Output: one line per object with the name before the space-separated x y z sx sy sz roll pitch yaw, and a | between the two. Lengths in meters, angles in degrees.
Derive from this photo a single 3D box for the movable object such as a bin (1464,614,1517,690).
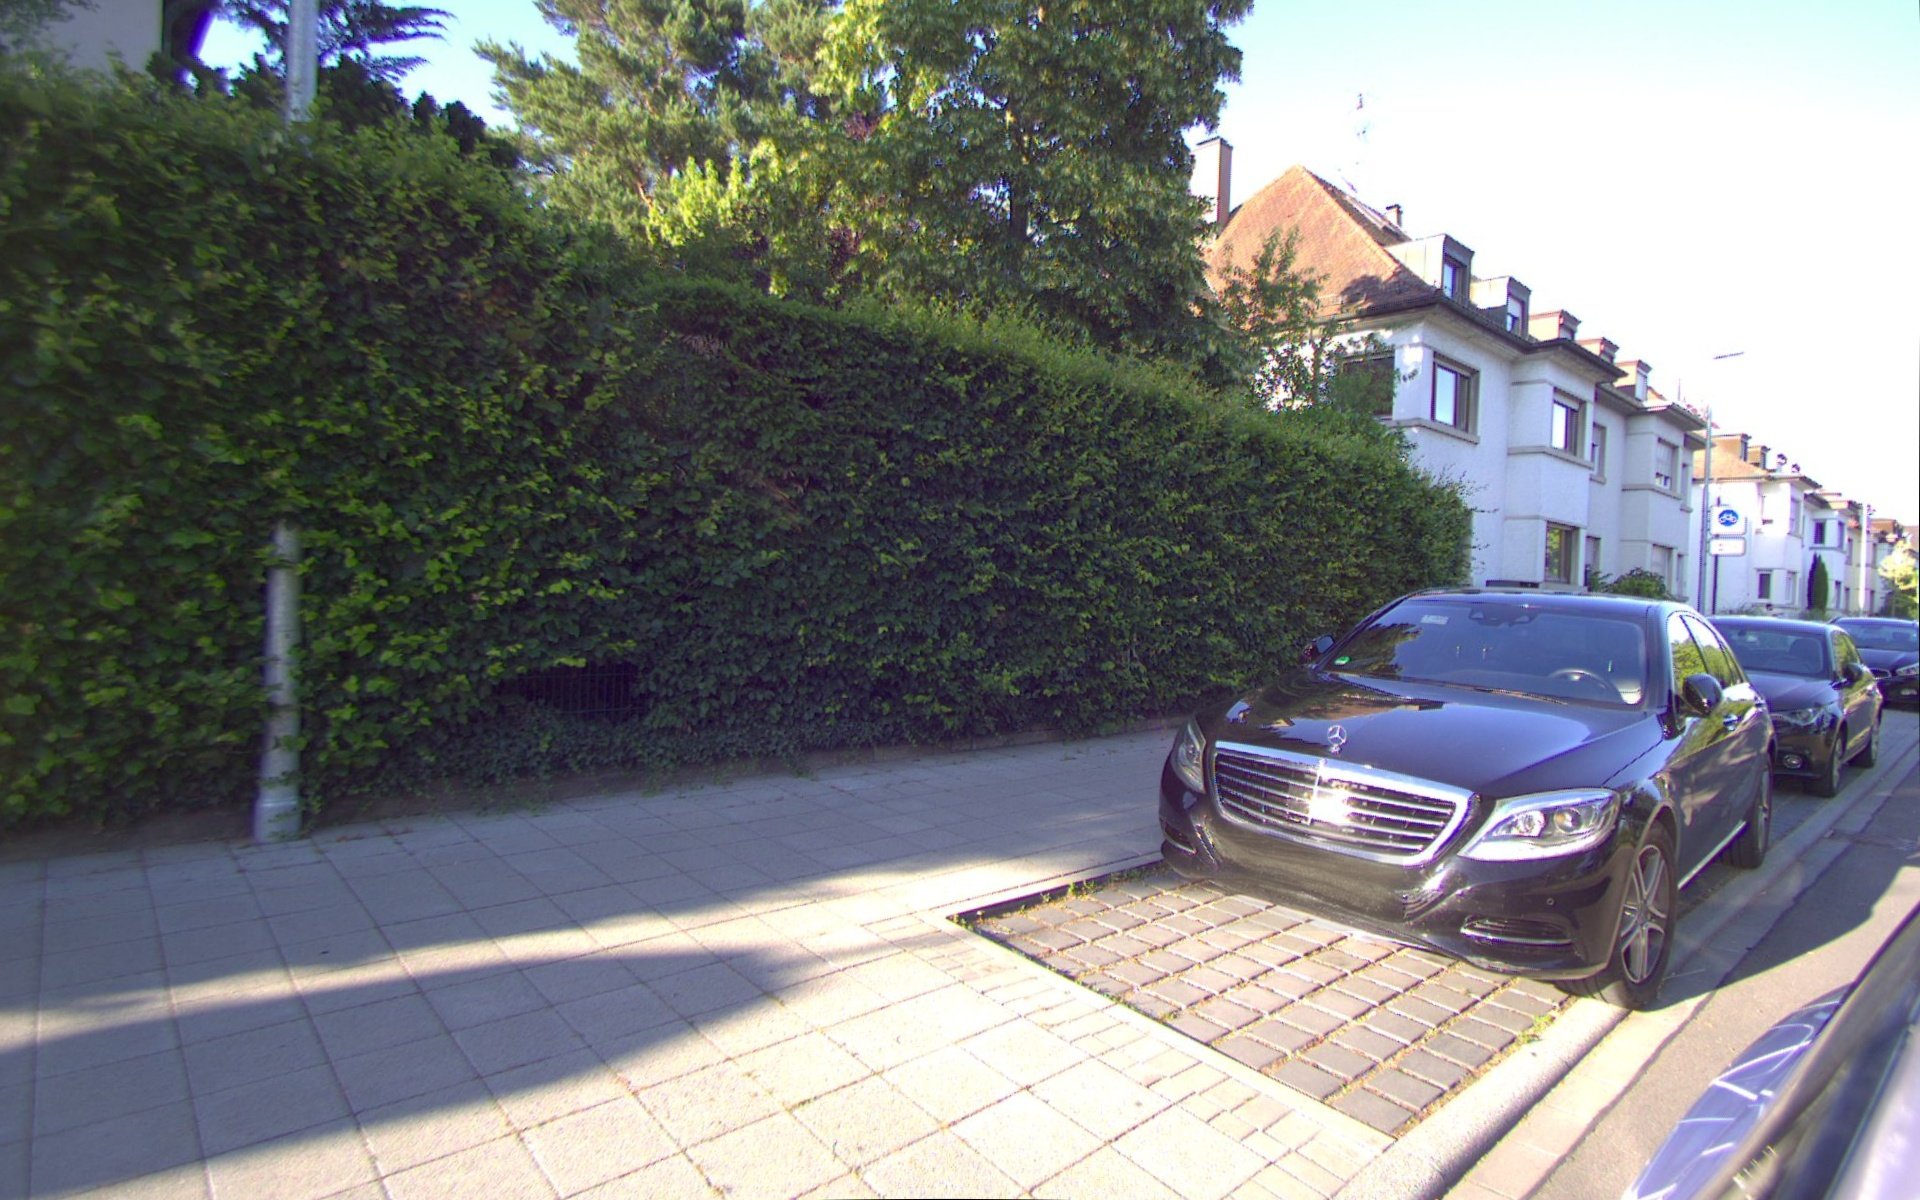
movable object such as a bin | 7.710 0.740 14.706 0.507 1.056 0.649 2 0 42

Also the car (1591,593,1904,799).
car | 7.503 0.739 9.502 3.869 1.445 1.644 1 3 -43

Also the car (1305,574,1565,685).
car | 8.103 0.426 17.462 3.637 1.514 1.752 5 3 45

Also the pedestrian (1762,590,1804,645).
pedestrian | 31.609 0.648 38.876 1.081 2.039 0.856 2 1 33

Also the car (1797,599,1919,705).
car | 15.827 0.828 17.278 4.183 1.492 1.750 1 5 -43

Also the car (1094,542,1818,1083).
car | 2.962 0.612 5.332 4.792 1.561 1.861 1 3 -44

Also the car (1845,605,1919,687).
car | 19.675 0.931 20.835 3.916 1.489 1.721 1 4 -43
